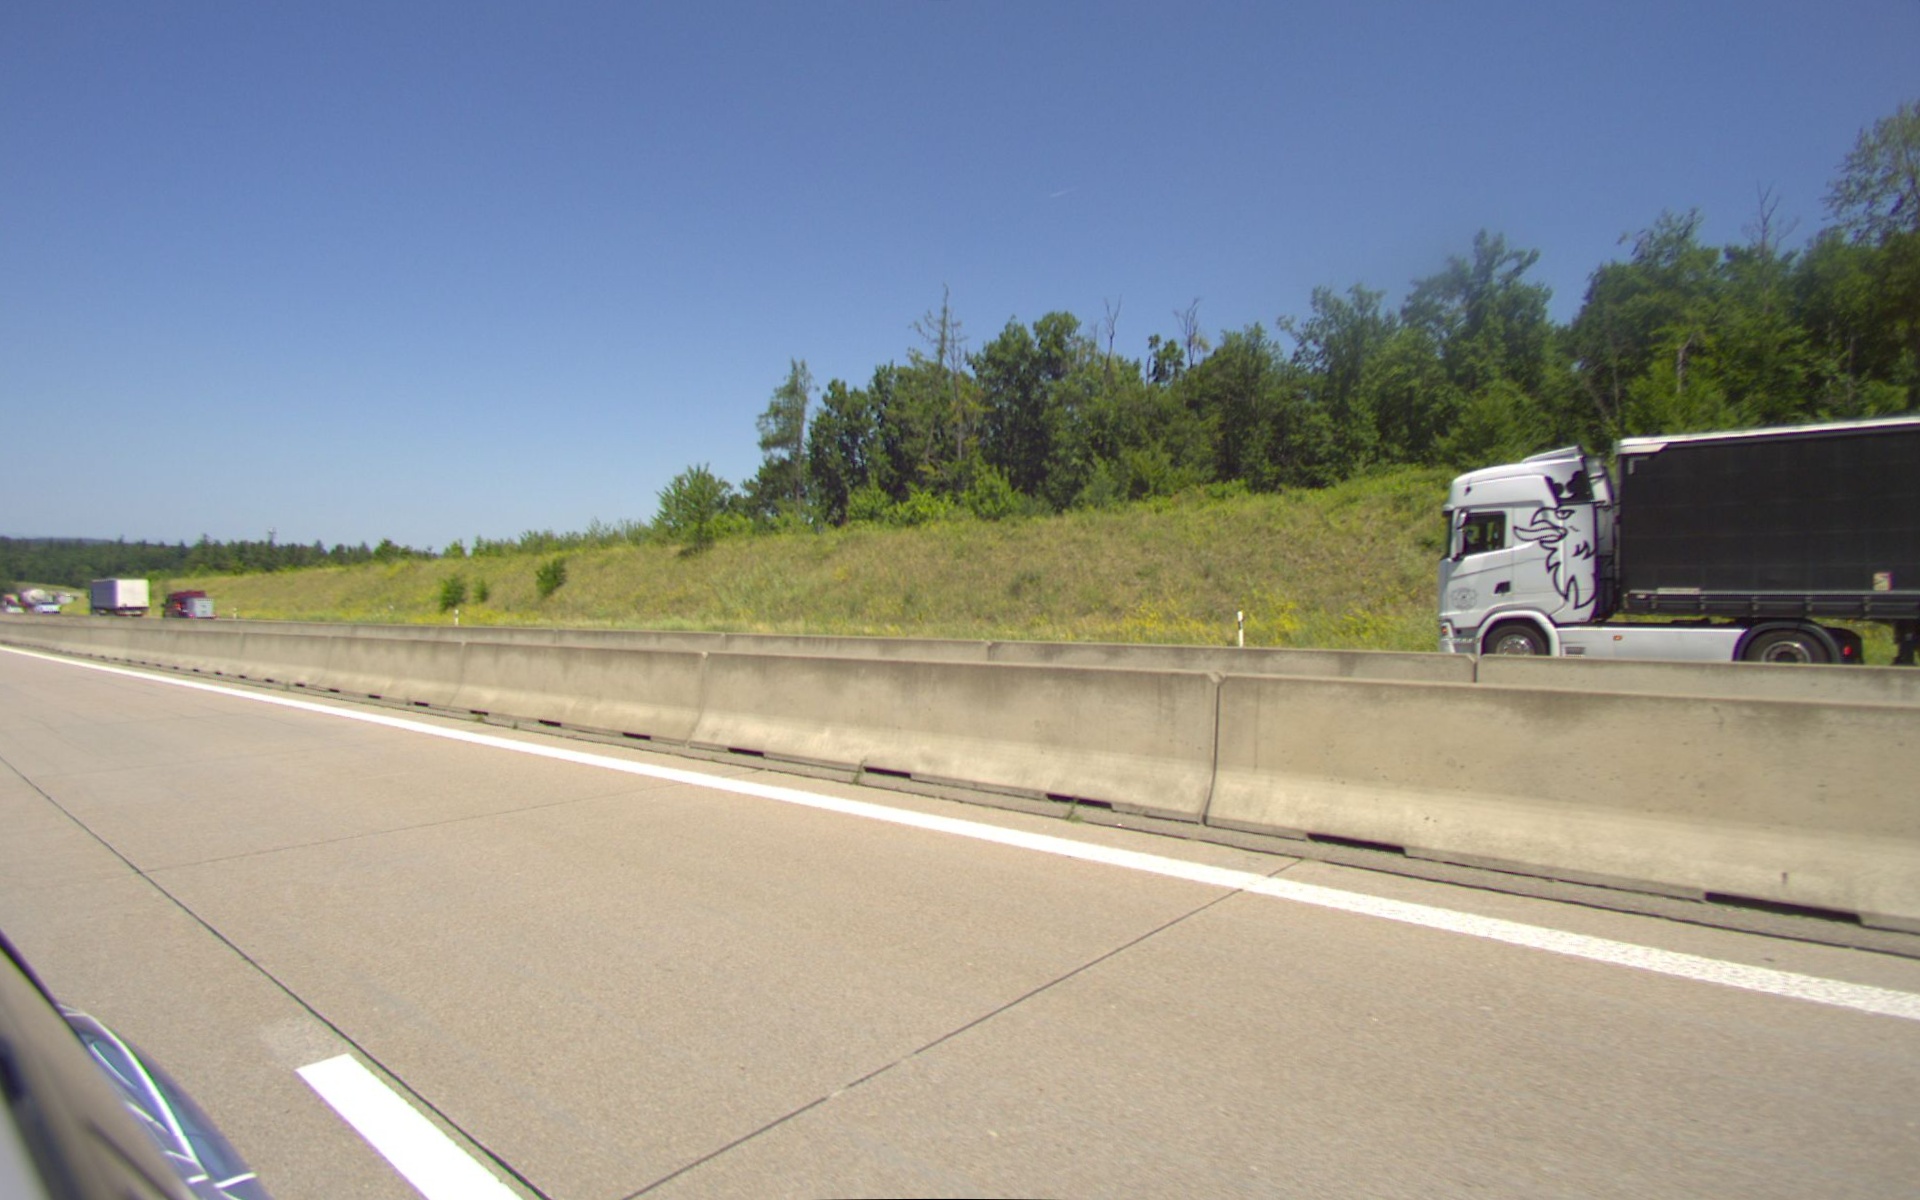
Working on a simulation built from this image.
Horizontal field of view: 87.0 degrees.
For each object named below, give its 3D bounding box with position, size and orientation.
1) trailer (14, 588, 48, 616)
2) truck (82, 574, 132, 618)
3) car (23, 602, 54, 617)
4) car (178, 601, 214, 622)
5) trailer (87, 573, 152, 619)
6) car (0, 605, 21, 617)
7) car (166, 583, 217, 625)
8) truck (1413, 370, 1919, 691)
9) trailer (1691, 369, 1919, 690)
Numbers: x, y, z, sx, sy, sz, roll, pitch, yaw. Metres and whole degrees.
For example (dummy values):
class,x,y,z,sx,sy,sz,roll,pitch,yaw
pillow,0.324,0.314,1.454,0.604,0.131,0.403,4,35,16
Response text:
class,x,y,z,sx,sy,sz,roll,pitch,yaw
trailer,-141.618,0.283,154.262,9.332,4.200,2.902,0,0,42
truck,-92.211,-0.420,109.361,6.573,4.538,3.222,0,0,42
car,-100.942,0.988,110.875,5.517,1.595,1.972,0,0,42
car,-61.790,0.905,81.860,3.575,1.613,1.597,0,-2,41
trailer,-87.324,-0.413,104.986,13.734,4.538,3.222,0,0,42
car,-126.359,1.416,134.496,4.528,1.595,1.972,0,0,42
car,-63.175,0.330,83.116,7.057,3.266,1.973,-1,-1,41
truck,12.485,-0.982,17.424,7.983,4.538,3.222,0,0,42
trailer,17.536,-0.988,12.892,13.115,4.538,3.222,0,0,42
